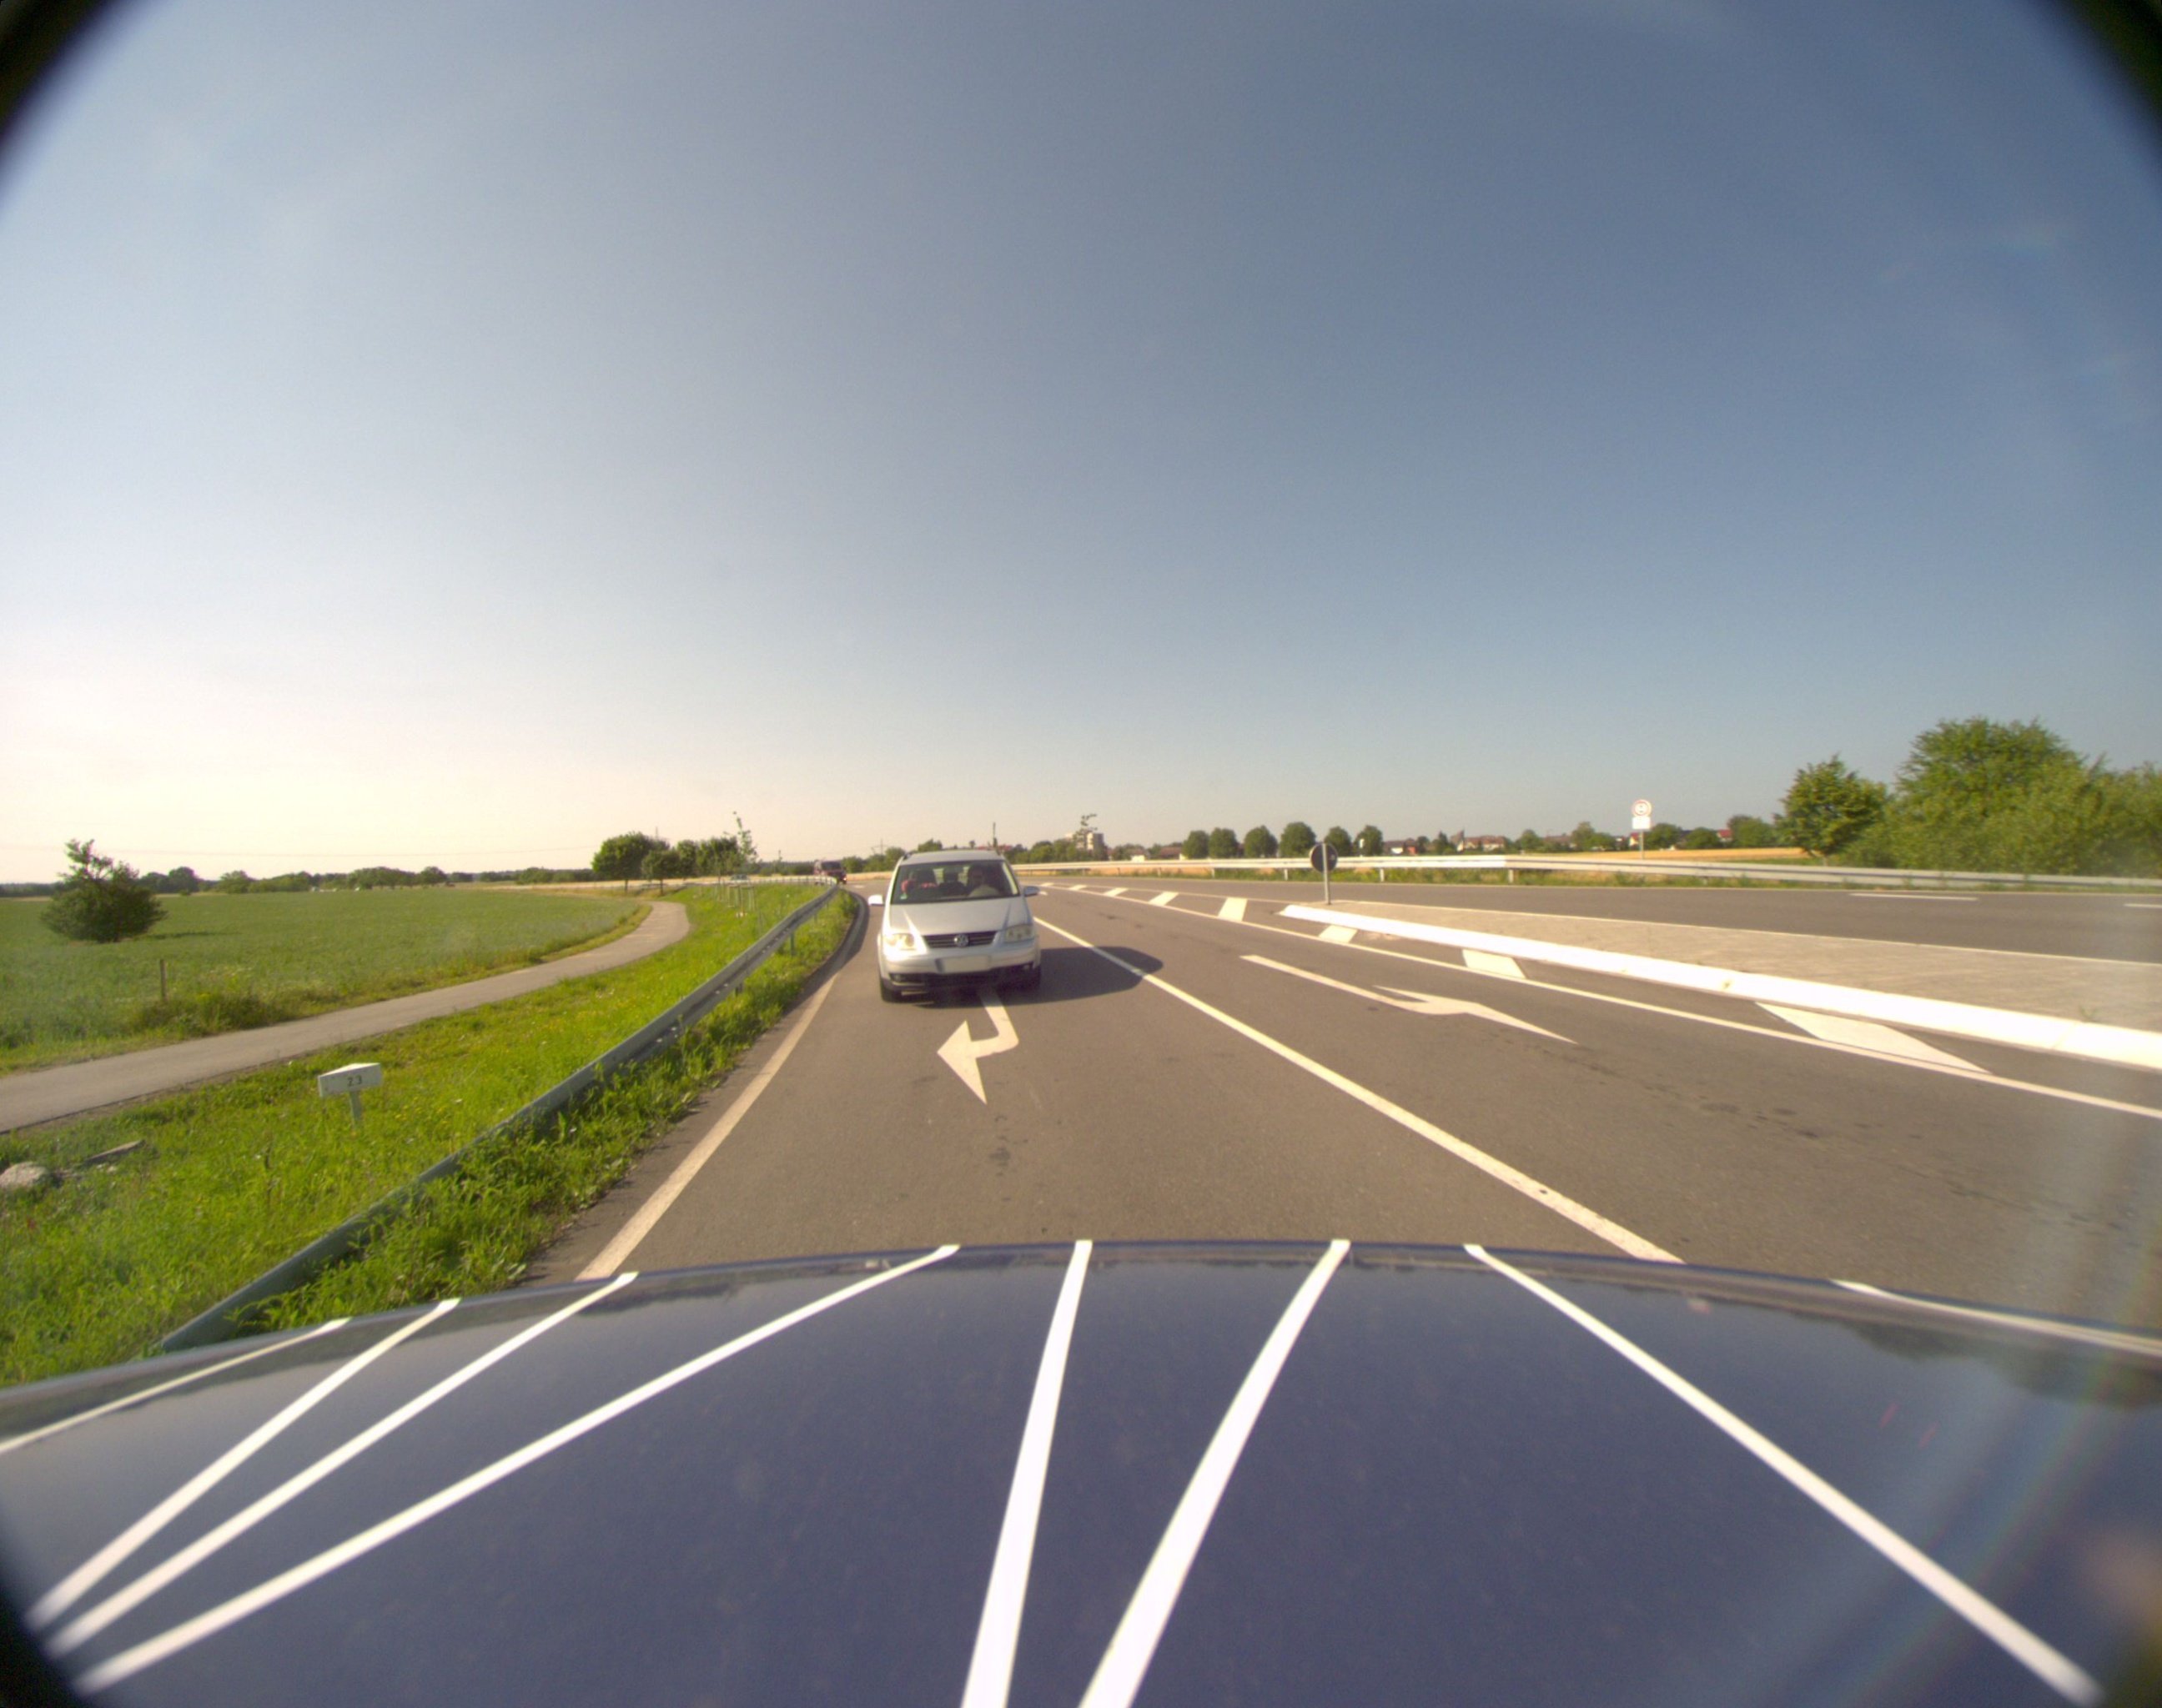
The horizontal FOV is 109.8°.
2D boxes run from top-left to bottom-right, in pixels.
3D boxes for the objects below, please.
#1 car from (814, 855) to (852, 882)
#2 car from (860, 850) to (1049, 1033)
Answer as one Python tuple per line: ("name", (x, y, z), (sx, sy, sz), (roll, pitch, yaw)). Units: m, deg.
("car", (-18.070, 1.043, 55.219), (1.696, 1.826, 4.688), (-2, 0, -28))
("car", (-1.583, 0.843, 9.622), (1.756, 1.685, 4.211), (-3, 1, -9))
